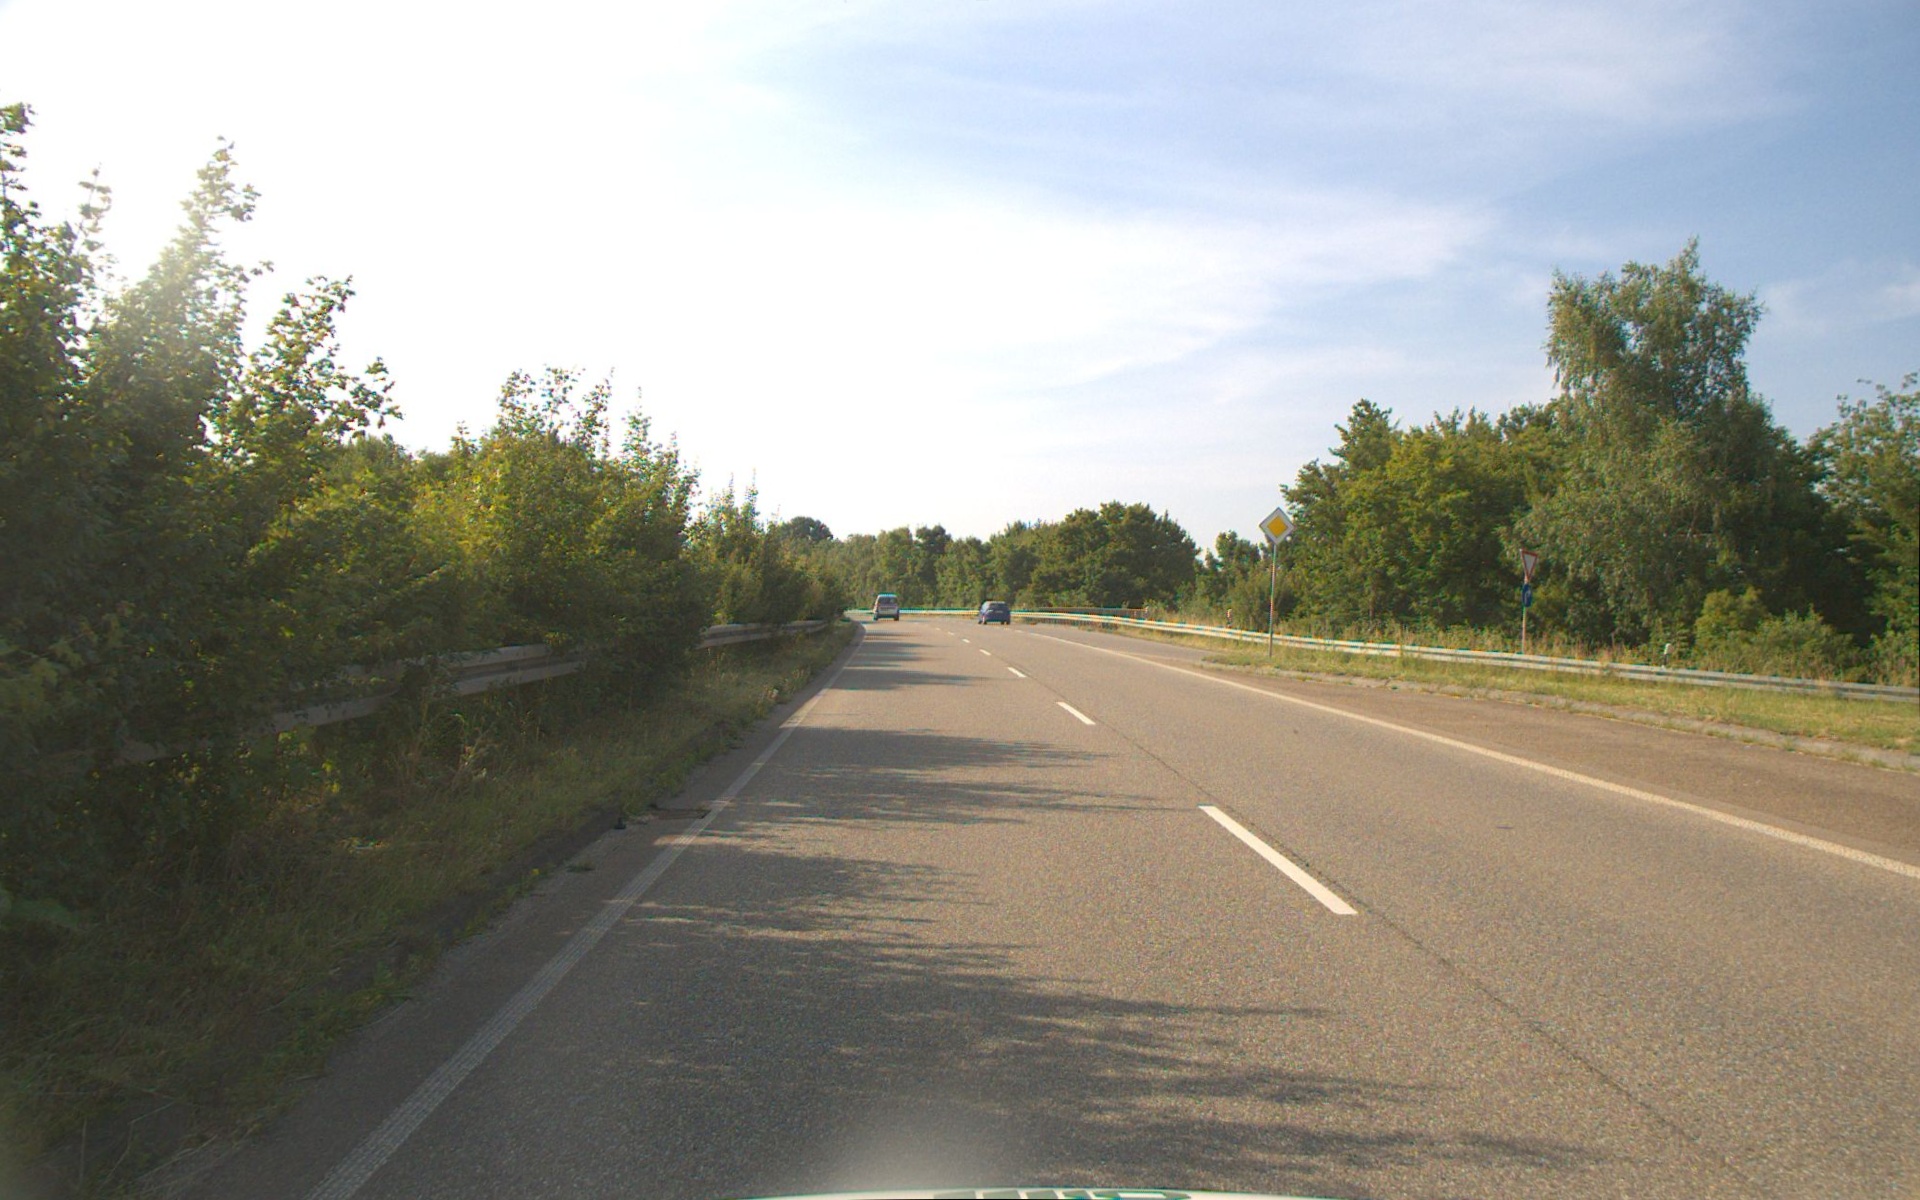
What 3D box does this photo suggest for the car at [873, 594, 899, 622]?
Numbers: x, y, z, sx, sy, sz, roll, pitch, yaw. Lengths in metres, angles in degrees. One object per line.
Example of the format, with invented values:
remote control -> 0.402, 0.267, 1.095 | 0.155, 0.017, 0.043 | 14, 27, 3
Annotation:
car -> -5.266, 0.549, 117.598 | 1.730, 1.915, 3.998 | 1, 0, -3

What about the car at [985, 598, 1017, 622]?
car -> 2.628, 0.674, 106.967 | 1.743, 1.477, 3.997 | 1, -1, -3
